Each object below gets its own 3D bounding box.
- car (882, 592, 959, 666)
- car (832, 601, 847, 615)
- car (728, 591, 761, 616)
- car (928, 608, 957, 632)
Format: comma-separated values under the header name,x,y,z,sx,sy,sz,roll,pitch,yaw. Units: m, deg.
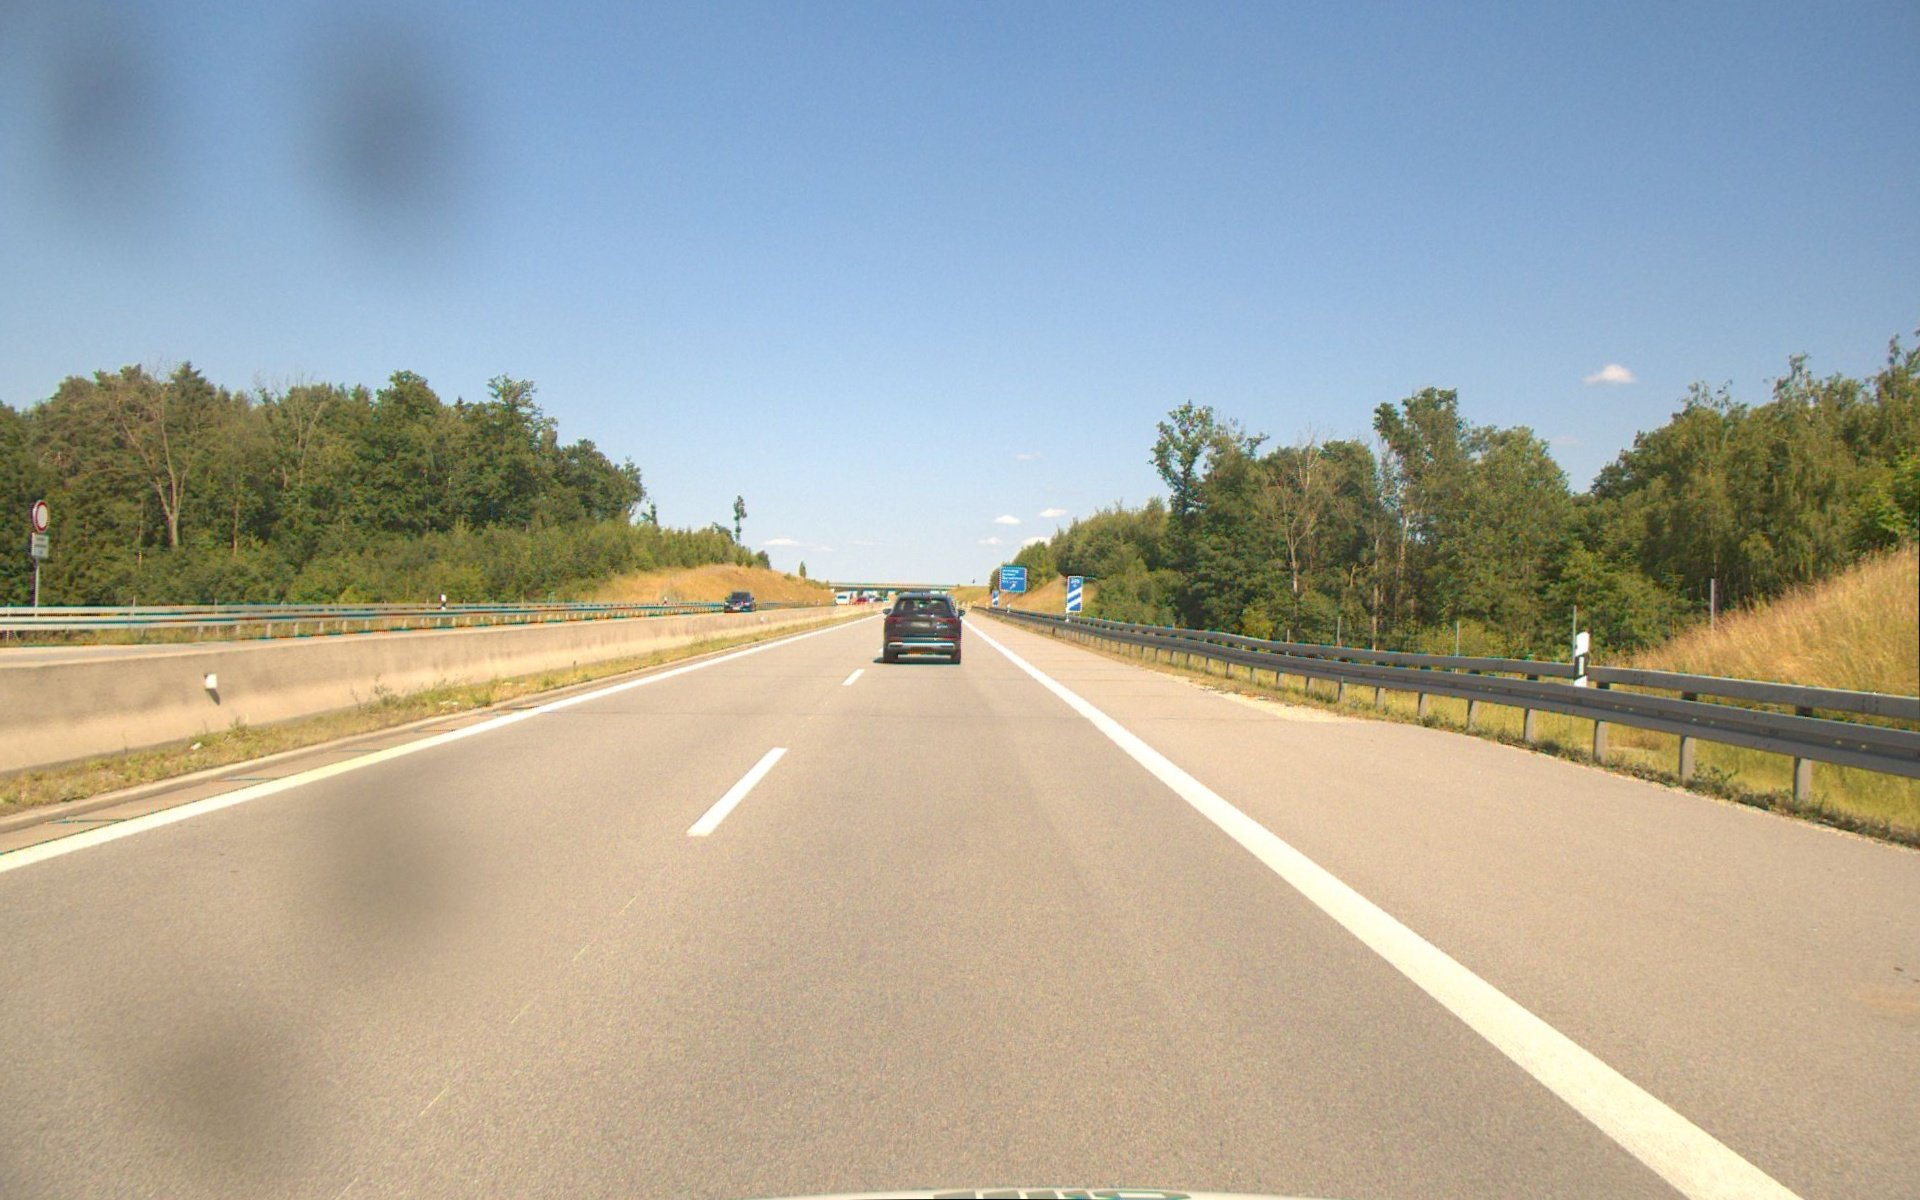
name,x,y,z,sx,sy,sz,roll,pitch,yaw
car,-0.906,0.634,39.299,1.687,1.615,5.221,1,0,-1
car,-18.245,1.194,250.818,1.953,2.119,6.226,1,0,0
car,-15.338,0.269,117.807,1.862,1.721,4.268,1,0,-1
car,-1.076,1.223,102.282,1.753,1.398,3.916,1,0,-1
